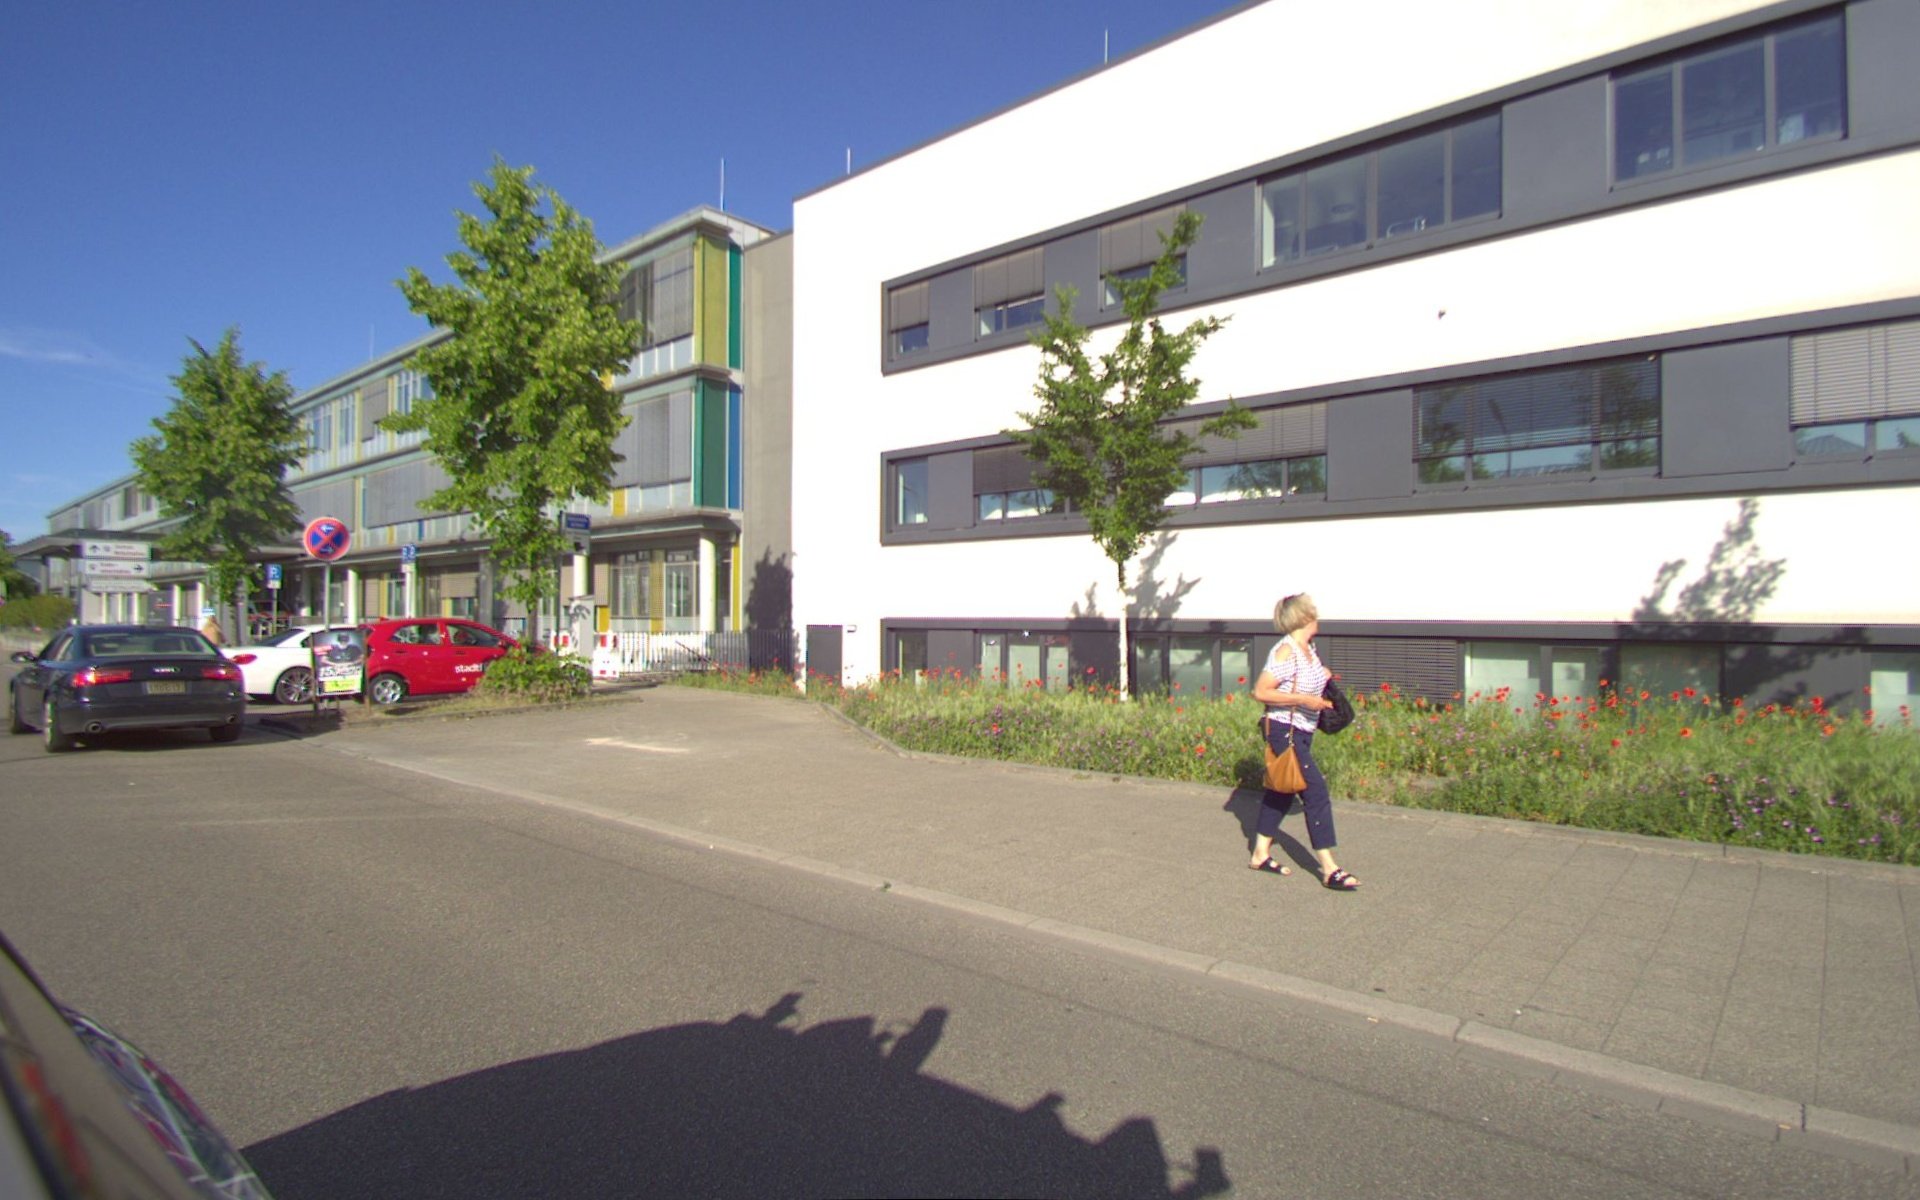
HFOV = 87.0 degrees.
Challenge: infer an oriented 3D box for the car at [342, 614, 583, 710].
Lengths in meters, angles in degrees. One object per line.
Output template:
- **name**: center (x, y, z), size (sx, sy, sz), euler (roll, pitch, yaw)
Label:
- **car**: center (-8.893, 1.036, 18.230), size (3.590, 1.480, 1.616), euler (-1, -1, -42)

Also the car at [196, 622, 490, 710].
- **car**: center (-11.488, 1.143, 19.072), size (1.700, 1.378, 4.461), euler (-1, -1, 44)

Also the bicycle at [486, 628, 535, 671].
- **bicycle**: center (-12.222, 1.331, 27.488), size (1.861, 1.120, 0.529), euler (-1, -2, 43)

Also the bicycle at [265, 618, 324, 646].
- **bicycle**: center (-24.242, 1.169, 36.900), size (0.536, 0.981, 1.698), euler (-1, -2, 40)

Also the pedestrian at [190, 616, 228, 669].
- **pedestrian**: center (-22.960, 1.295, 30.933), size (0.780, 1.561, 0.764), euler (-1, 1, 42)

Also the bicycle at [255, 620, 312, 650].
- **bicycle**: center (-25.331, 1.304, 37.921), size (0.536, 1.063, 1.698), euler (-1, -2, 40)

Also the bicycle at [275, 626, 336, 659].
- **bicycle**: center (-22.676, 1.465, 35.093), size (1.682, 1.130, 0.537), euler (1, -2, -43)

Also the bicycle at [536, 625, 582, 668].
- **bicycle**: center (-10.806, 1.234, 27.230), size (1.763, 1.132, 0.415), euler (-1, -2, 43)

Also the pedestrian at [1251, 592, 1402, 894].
- **pedestrian**: center (2.014, 0.733, 5.563), size (0.607, 1.535, 0.532), euler (-1, -2, 43)

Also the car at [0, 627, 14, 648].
- **car**: center (-69.925, 2.665, 71.700), size (1.752, 1.478, 4.089), euler (-1, -1, 40)

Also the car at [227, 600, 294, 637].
- **car**: center (-38.114, 1.028, 55.098), size (4.709, 1.905, 1.899), euler (-1, -2, 42)

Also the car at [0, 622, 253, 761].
- **car**: center (-10.691, 1.013, 12.775), size (4.533, 1.453, 1.744), euler (-1, -2, 40)
